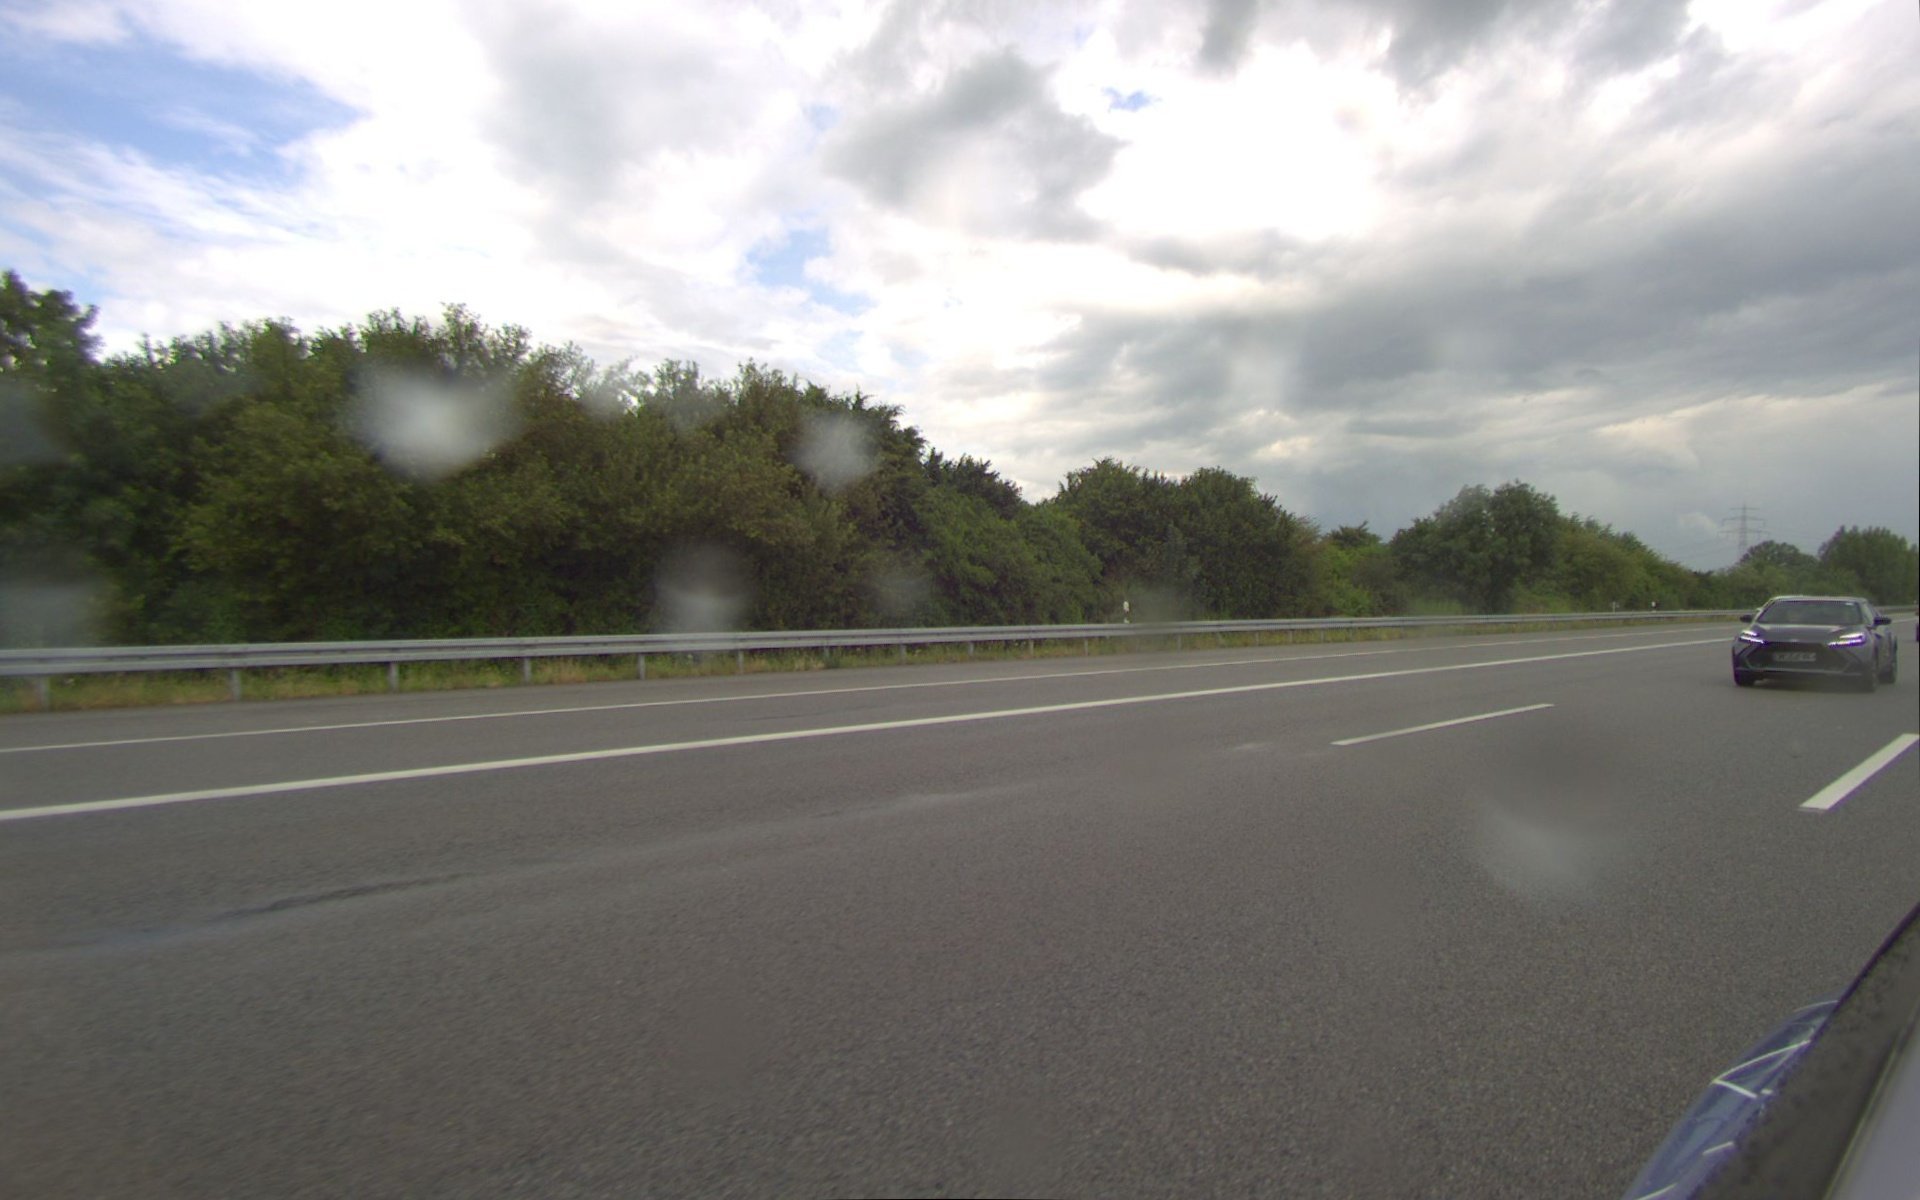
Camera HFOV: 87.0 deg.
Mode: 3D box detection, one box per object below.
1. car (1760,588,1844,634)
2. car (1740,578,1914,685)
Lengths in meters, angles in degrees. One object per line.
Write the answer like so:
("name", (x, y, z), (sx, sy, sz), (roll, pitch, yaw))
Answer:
("car", (31.369, 0.372, 37.673), (4.616, 1.619, 1.813), (0, 1, -43))
("car", (15.204, 0.463, 17.658), (4.519, 1.633, 1.783), (0, 1, -43))
